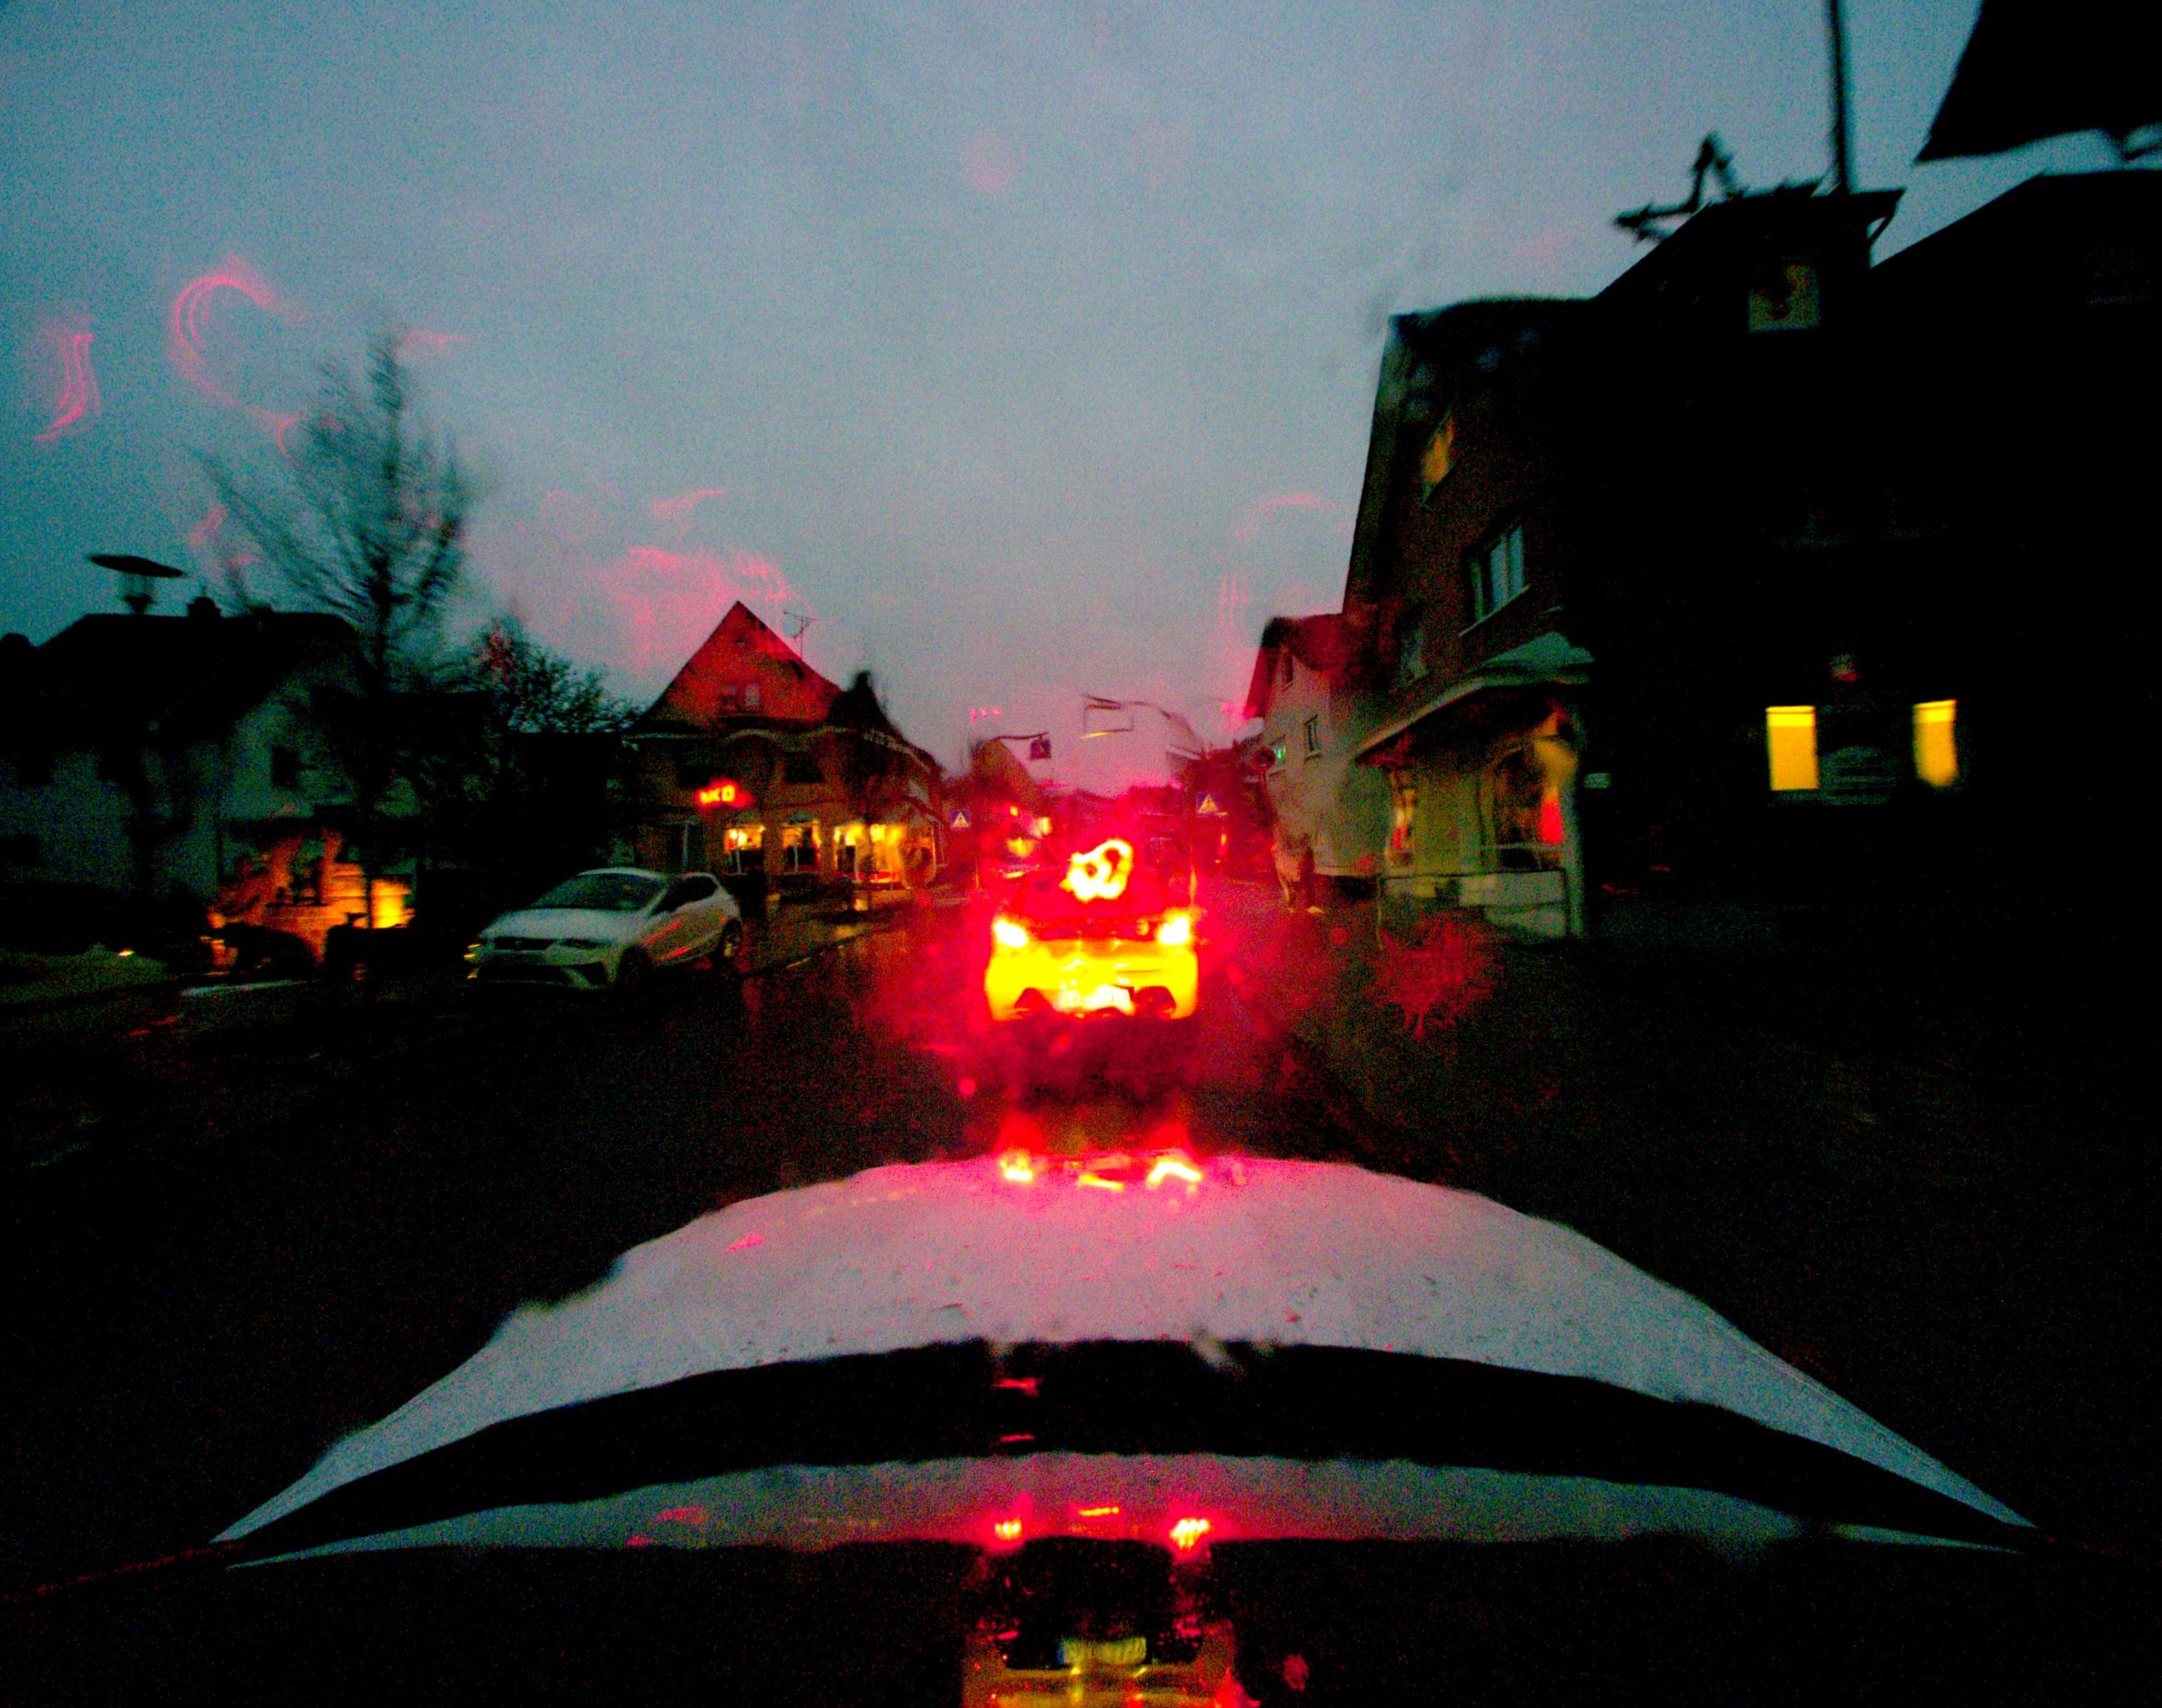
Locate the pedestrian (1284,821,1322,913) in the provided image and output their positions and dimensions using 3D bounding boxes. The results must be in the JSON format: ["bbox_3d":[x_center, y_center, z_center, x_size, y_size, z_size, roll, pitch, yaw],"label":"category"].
[{"bbox_3d":[4.685,0.275,17.237,0.659,1.888,0.826,-1,-1,9],"label":"pedestrian"}]

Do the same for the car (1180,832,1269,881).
[{"bbox_3d":[6.158,0.124,35.348,3.679,2.014,1.692,-1,-1,5],"label":"car"}]

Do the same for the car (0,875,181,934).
[{"bbox_3d":[-29.262,1.455,23.682,3.894,1.519,1.609,-1,0,-12],"label":"car"}]

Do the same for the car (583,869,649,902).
[{"bbox_3d":[-26.364,1.727,46.327,1.847,1.720,3.990,-1,0,-7],"label":"car"}]

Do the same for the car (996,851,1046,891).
[{"bbox_3d":[-3.126,0.862,43.399,1.984,2.013,4.366,-1,0,4],"label":"car"}]

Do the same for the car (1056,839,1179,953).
[{"bbox_3d":[0.662,0.630,14.019,1.790,1.662,4.004,-1,0,4],"label":"car"}]

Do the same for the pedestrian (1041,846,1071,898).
[{"bbox_3d":[-0.833,0.603,27.665,0.970,1.742,0.962,0,1,1],"label":"pedestrian"}]

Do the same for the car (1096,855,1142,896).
[{"bbox_3d":[1.686,0.849,34.797,1.819,1.601,4.587,-1,0,4],"label":"car"}]

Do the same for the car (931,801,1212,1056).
[{"bbox_3d":[0.130,0.519,8.195,1.984,1.795,4.655,-2,1,5],"label":"car"}]

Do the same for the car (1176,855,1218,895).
[{"bbox_3d":[6.326,1.106,44.889,1.636,2.013,3.999,-3,0,0],"label":"car"}]

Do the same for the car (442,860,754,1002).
[{"bbox_3d":[-6.113,0.860,10.946,1.663,1.516,4.002,0,0,2],"label":"car"}]

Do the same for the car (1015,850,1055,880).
[{"bbox_3d":[-2.822,0.661,50.715,1.985,1.752,4.365,-1,0,3],"label":"car"}]

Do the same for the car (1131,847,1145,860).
[{"bbox_3d":[6.591,-0.061,93.920,1.527,1.245,3.652,-6,1,5],"label":"car"}]

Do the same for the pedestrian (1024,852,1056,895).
[{"bbox_3d":[-1.420,0.693,28.519,0.886,1.417,0.777,5,-1,6],"label":"pedestrian"}]

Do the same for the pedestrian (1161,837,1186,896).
[{"bbox_3d":[2.970,0.380,26.125,0.701,1.876,0.616,0,1,-4],"label":"pedestrian"}]

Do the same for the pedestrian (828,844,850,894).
[{"bbox_3d":[-8.718,0.539,29.316,0.587,1.742,0.683,-1,0,-5],"label":"pedestrian"}]

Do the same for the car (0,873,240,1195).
[{"bbox_3d":[-6.106,0.873,2.809,1.741,1.516,4.345,0,0,3],"label":"car"}]
